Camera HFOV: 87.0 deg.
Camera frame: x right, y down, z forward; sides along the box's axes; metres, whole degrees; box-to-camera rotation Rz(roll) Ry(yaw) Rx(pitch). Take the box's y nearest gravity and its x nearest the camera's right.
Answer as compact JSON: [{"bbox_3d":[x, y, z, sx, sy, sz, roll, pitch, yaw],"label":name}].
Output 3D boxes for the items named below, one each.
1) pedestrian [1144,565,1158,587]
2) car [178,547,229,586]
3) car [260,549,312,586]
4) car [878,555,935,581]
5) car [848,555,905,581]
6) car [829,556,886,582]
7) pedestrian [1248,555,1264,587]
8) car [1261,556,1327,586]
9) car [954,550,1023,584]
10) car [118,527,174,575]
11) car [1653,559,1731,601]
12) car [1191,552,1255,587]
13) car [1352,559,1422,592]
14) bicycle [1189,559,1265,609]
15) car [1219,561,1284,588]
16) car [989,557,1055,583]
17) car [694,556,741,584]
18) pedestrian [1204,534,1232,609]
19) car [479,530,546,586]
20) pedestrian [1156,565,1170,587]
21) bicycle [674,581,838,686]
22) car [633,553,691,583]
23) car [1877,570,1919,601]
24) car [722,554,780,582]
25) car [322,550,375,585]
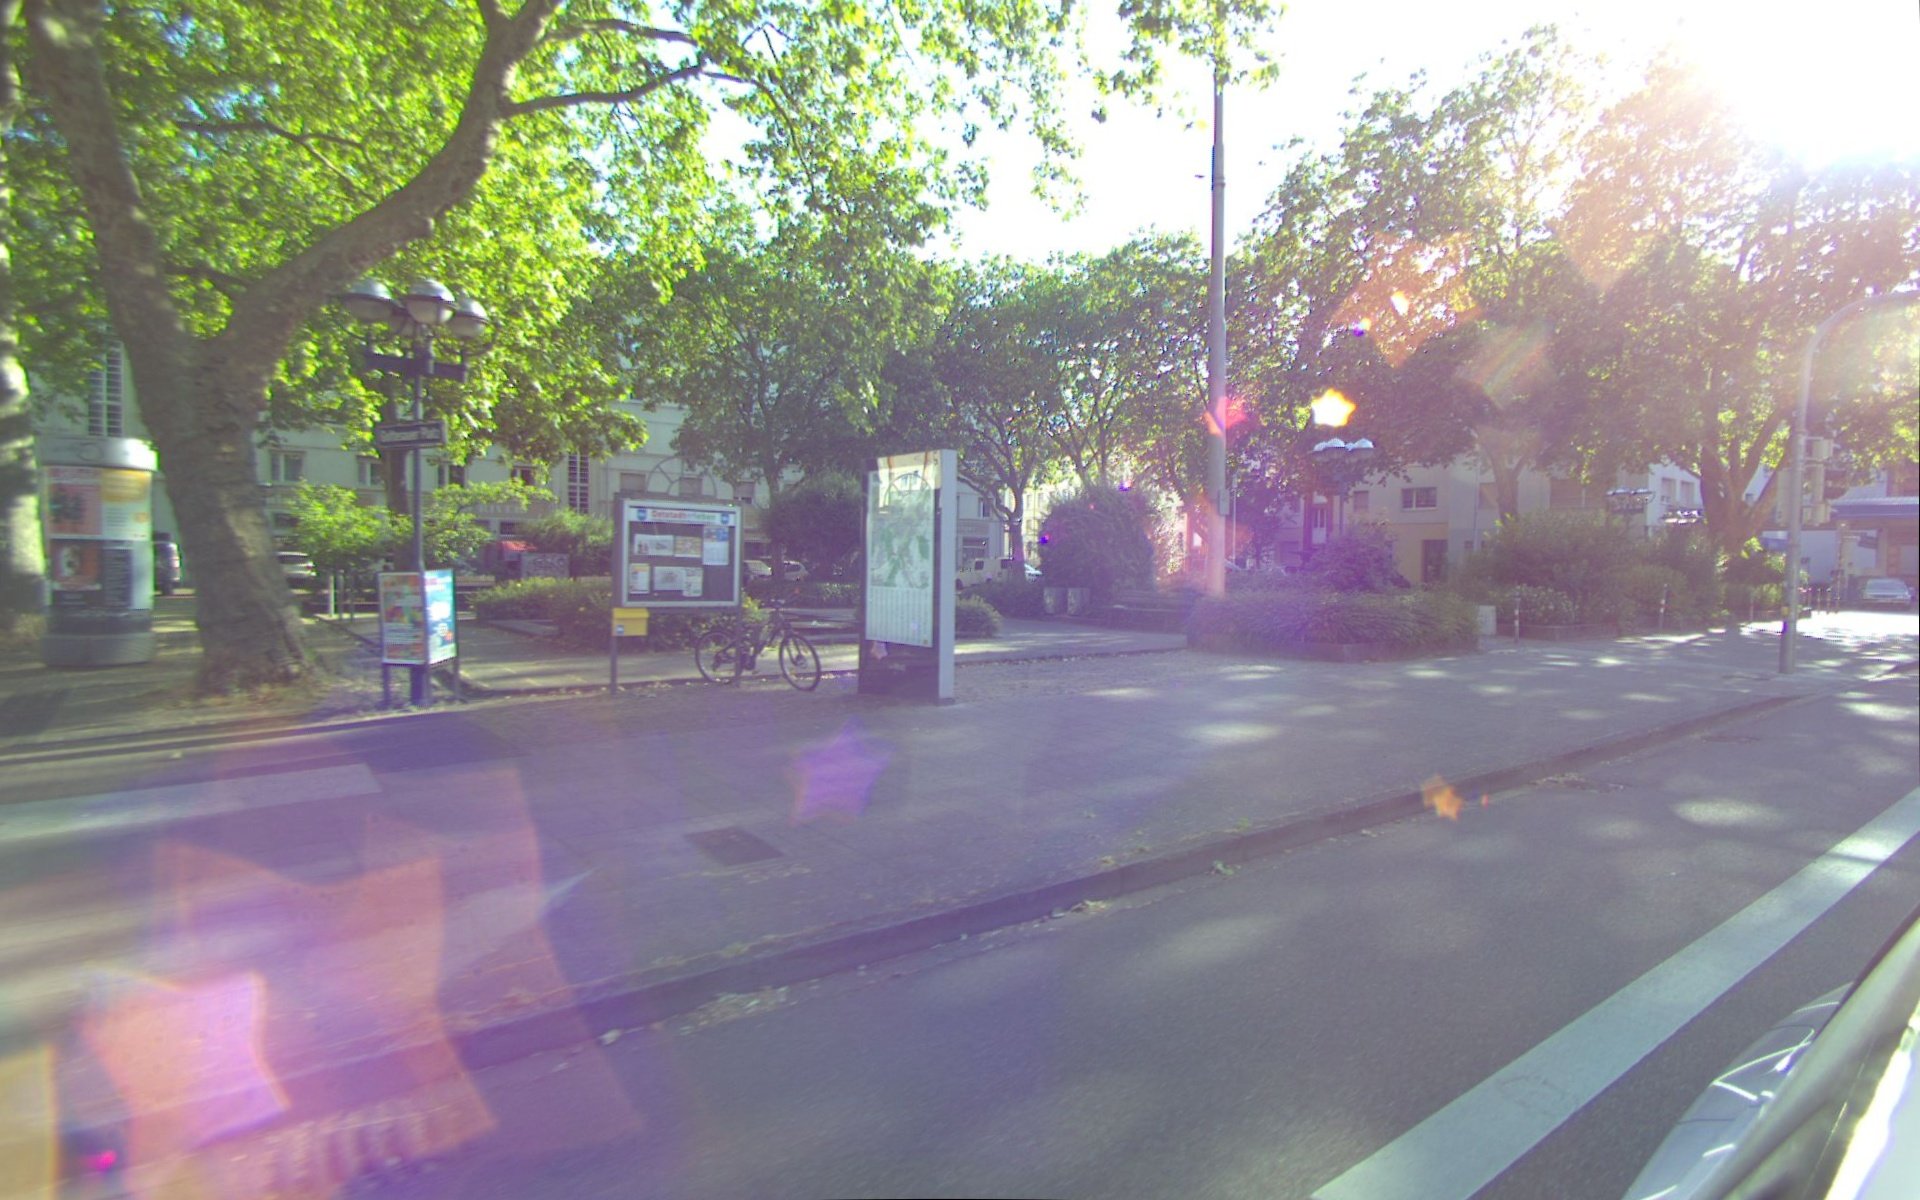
[{"bbox_3d":[10.876,-1.352,57.663,0.627,1.242,0.533,0,1,35],"label":"pedestrian"},{"bbox_3d":[-33.690,-1.510,45.041,1.730,1.498,4.353,-1,5,-37],"label":"car"},{"bbox_3d":[-31.468,-1.545,47.235,1.747,1.498,4.353,-1,5,-37],"label":"car"},{"bbox_3d":[-3.734,-2.242,69.982,1.747,1.539,4.353,-1,5,-37],"label":"car"},{"bbox_3d":[-5.698,-2.170,68.677,1.747,1.539,4.353,-1,5,-37],"label":"car"},{"bbox_3d":[-6.817,-2.072,66.777,1.747,1.498,4.353,-1,5,-37],"label":"car"},{"bbox_3d":[15.223,-1.496,52.083,0.620,1.633,0.539,-1,1,-39],"label":"pedestrian"},{"bbox_3d":[19.003,-1.628,57.531,4.107,1.681,1.709,0,2,-41],"label":"car"},{"bbox_3d":[1.665,-1.949,60.197,2.010,1.940,3.998,-1,1,-37],"label":"car"},{"bbox_3d":[-35.091,-2.163,43.725,1.730,1.893,4.353,-1,5,-37],"label":"car"},{"bbox_3d":[30.955,-0.849,42.774,4.107,1.680,1.805,0,2,-41],"label":"car"},{"bbox_3d":[16.021,-1.845,61.570,4.107,2.052,1.709,0,2,-41],"label":"car"},{"bbox_3d":[22.629,-1.308,53.553,4.107,1.680,1.805,0,2,-41],"label":"car"},{"bbox_3d":[6.467,-0.381,24.587,1.694,1.178,0.697,-1,1,9],"label":"bicycle"},{"bbox_3d":[17.134,-1.479,59.453,4.107,1.521,1.709,0,2,-41],"label":"car"},{"bbox_3d":[3.729,-1.805,61.856,1.887,1.541,3.998,-1,1,-37],"label":"car"},{"bbox_3d":[-14.455,-1.817,60.141,1.383,1.498,3.574,-1,5,-37],"label":"car"},{"bbox_3d":[6.342,-0.698,24.922,0.545,1.807,0.626,-1,0,3],"label":"pedestrian"},{"bbox_3d":[-23.809,-2.286,53.726,2.128,2.698,5.069,-1,5,-37],"label":"car"},{"bbox_3d":[11.507,-1.353,57.327,0.627,1.242,0.533,0,1,35],"label":"pedestrian"},{"bbox_3d":[-2.221,0.329,10.958,1.806,1.067,0.530,1,1,26],"label":"bicycle"},{"bbox_3d":[-17.154,-1.853,58.096,1.747,1.498,4.353,-1,5,-37],"label":"car"},{"bbox_3d":[42.458,-0.657,45.114,3.686,1.343,1.721,-1,1,-38],"label":"car"},{"bbox_3d":[-12.757,-1.989,61.716,1.747,1.498,4.353,-1,5,-37],"label":"car"},{"bbox_3d":[-29.678,-1.615,49.045,1.747,1.498,4.353,-1,5,-37],"label":"car"}]
